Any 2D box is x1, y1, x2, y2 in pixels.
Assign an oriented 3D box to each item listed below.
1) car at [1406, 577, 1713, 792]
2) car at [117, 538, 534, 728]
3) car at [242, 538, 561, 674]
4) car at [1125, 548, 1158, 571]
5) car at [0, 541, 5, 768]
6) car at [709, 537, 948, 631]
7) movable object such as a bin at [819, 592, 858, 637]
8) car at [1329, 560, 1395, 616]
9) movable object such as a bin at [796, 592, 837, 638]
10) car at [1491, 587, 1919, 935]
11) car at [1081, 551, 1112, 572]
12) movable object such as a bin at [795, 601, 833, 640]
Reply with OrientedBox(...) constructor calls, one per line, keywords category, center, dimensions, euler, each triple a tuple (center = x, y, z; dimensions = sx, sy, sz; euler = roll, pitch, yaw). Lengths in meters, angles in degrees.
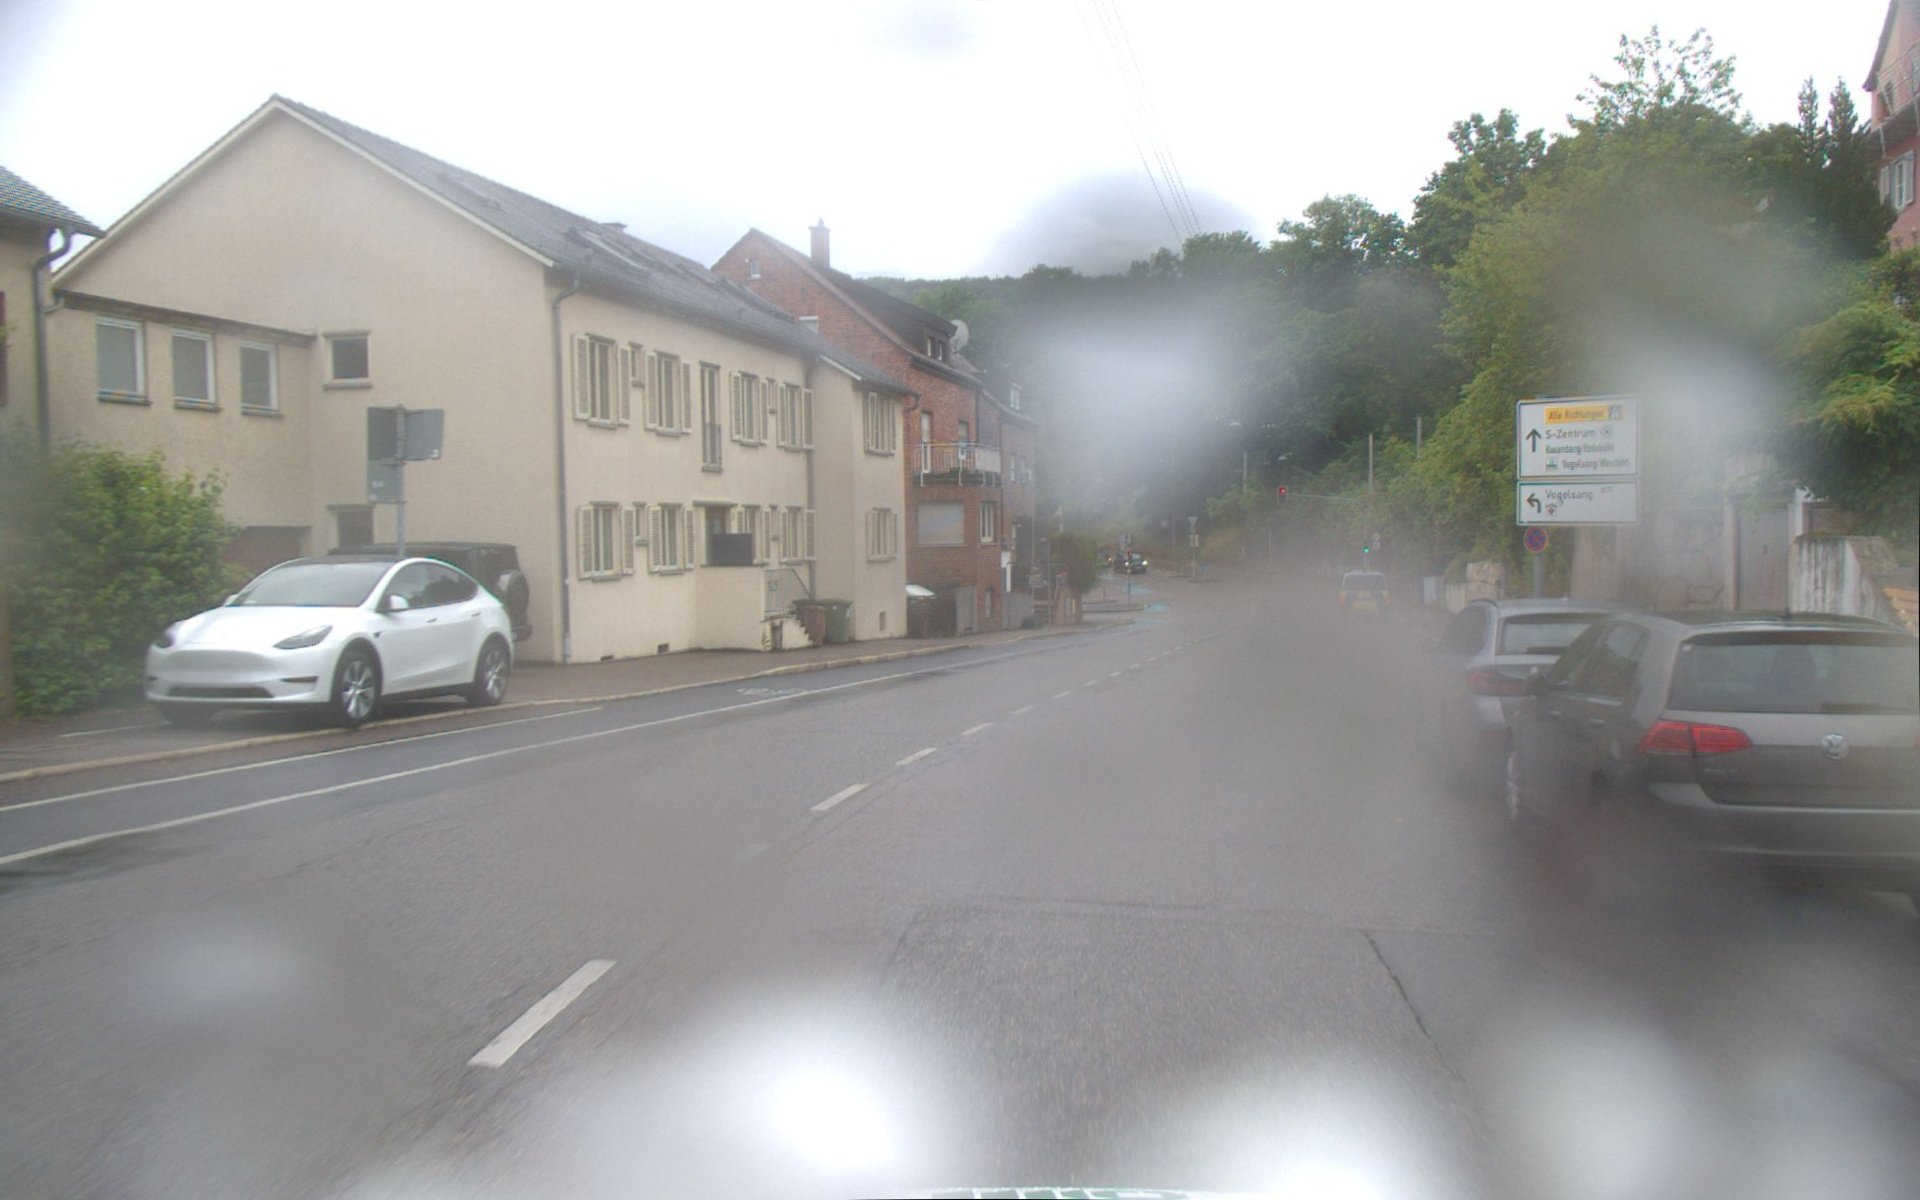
OrientedBox(category="car", center=(4.916, 0.584, 14.189), dimensions=(1.751, 1.522, 4.710), euler=(0, 0, 11))
OrientedBox(category="car", center=(-6.238, 0.278, 16.982), dimensions=(1.888, 1.659, 4.681), euler=(0, 0, 9))
OrientedBox(category="car", center=(-8.824, 0.073, 26.286), dimensions=(4.392, 2.048, 1.890), euler=(-1, 1, 10))
OrientedBox(category="car", center=(14.062, -3.162, 128.305), dimensions=(1.707, 1.576, 3.998), euler=(-4, 3, -4))
OrientedBox(category="car", center=(-7.538, 0.366, 8.848), dimensions=(1.769, 1.502, 4.526), euler=(0, 0, 8))
OrientedBox(category="car", center=(-3.758, -0.436, 47.578), dimensions=(6.512, 2.598, 2.169), euler=(0, -1, 14))
OrientedBox(category="movable object such as a bin", center=(-2.931, 0.340, 39.939), dimensions=(0.765, 1.065, 0.739), euler=(0, 0, 13))
OrientedBox(category="car", center=(14.913, -0.417, 61.558), dimensions=(2.259, 1.973, 4.329), euler=(-1, 0, 12))
OrientedBox(category="movable object such as a bin", center=(-3.392, 0.349, 39.149), dimensions=(0.765, 1.065, 0.709), euler=(0, 0, 13))
OrientedBox(category="car", center=(4.161, 0.686, 9.301), dimensions=(1.606, 1.461, 4.177), euler=(0, 1, 9))
OrientedBox(category="car", center=(11.072, -3.129, 134.626), dimensions=(1.708, 1.576, 3.996), euler=(-5, 2, -6))
OrientedBox(category="movable object such as a bin", center=(-3.363, 0.470, 38.126), dimensions=(0.659, 0.874, 0.709), euler=(0, 0, 13))
